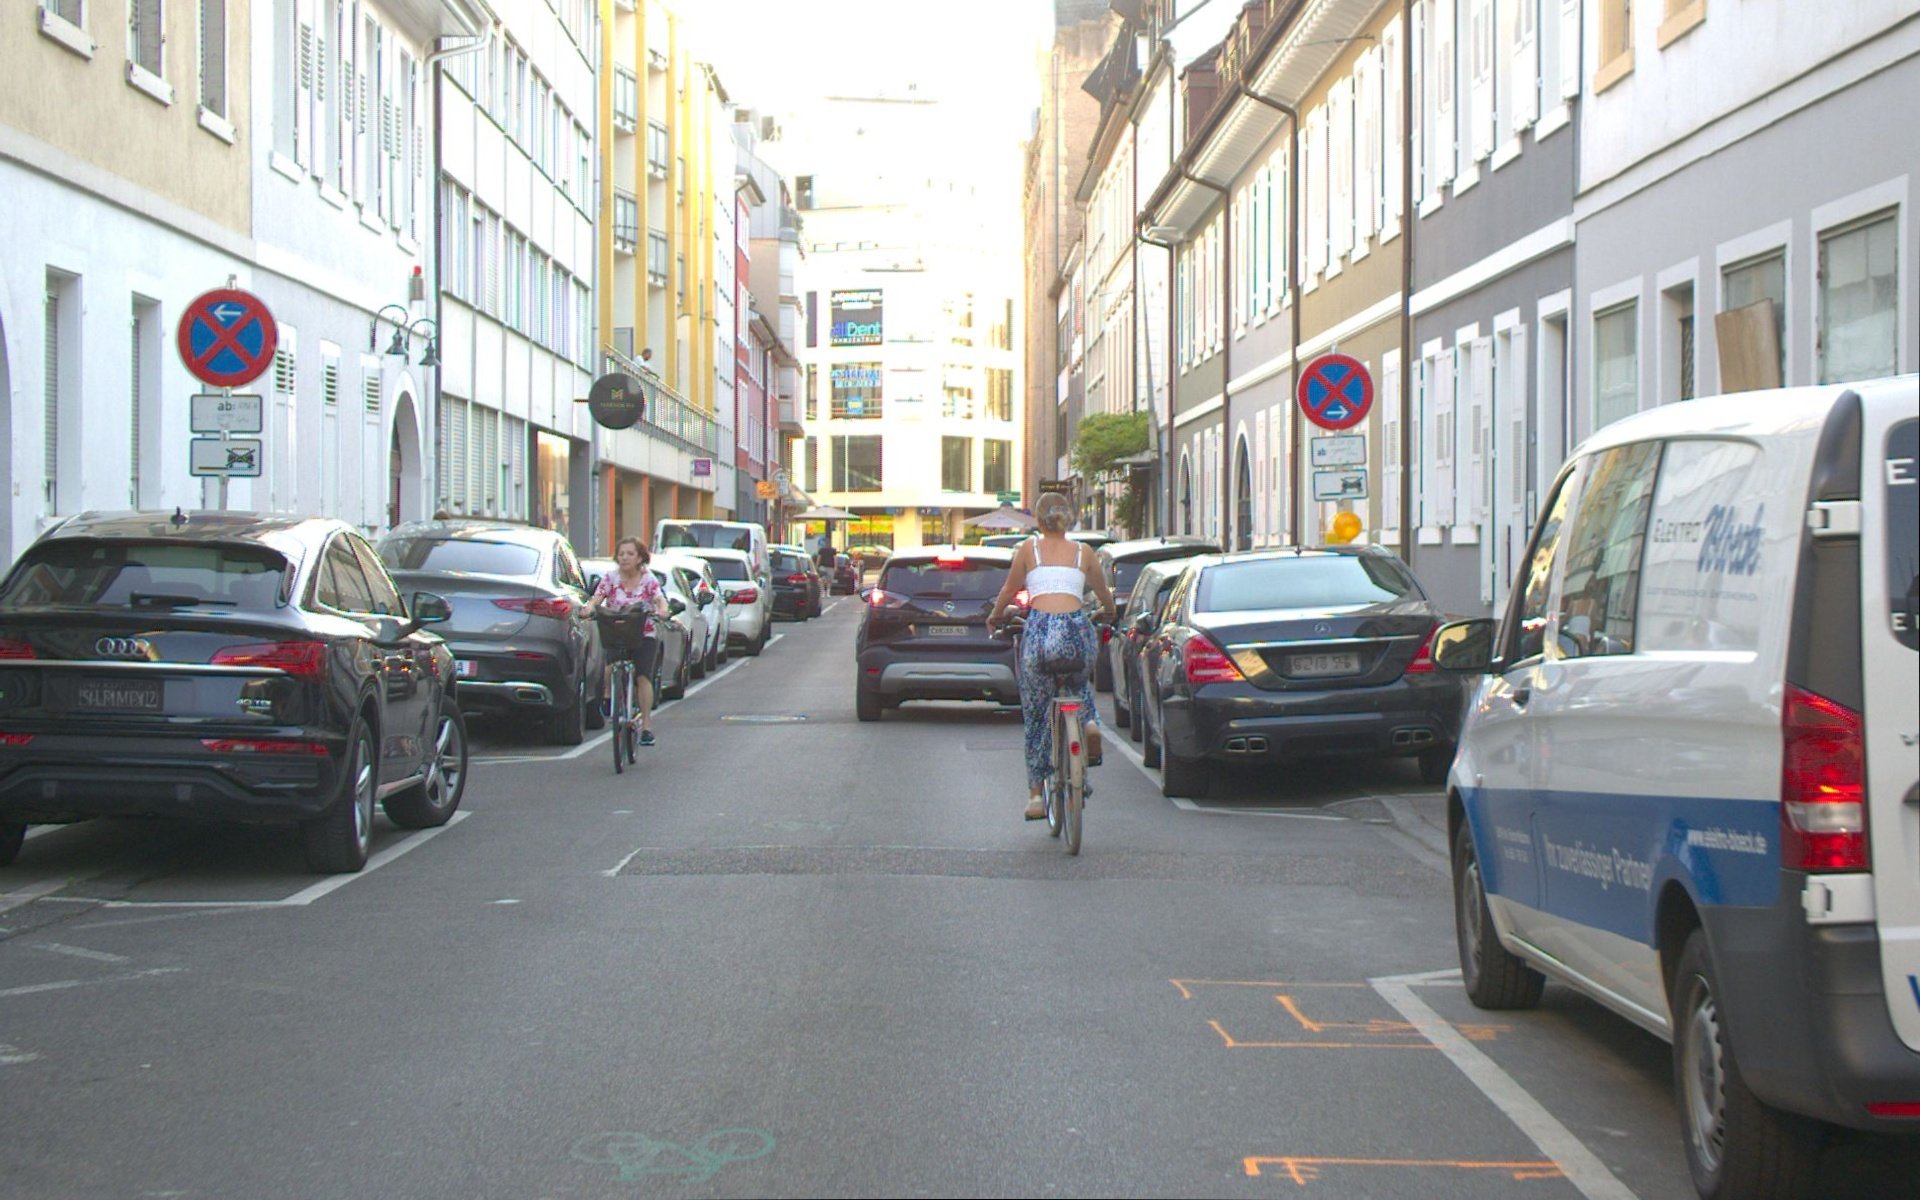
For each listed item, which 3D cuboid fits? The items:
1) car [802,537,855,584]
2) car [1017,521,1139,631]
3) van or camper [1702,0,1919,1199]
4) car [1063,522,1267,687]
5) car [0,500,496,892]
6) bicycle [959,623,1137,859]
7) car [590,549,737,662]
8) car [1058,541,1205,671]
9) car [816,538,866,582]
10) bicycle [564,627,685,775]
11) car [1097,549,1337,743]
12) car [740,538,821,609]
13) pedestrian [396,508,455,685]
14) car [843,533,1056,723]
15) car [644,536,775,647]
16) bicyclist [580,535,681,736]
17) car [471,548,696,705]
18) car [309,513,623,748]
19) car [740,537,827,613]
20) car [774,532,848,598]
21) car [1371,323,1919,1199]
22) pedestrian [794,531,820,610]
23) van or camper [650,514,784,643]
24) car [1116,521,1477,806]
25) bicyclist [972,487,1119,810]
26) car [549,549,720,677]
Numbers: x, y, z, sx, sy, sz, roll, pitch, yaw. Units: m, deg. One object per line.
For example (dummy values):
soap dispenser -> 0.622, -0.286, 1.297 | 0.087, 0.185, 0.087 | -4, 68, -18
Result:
car -> -4.528, -1.364, 118.900 | 1.653, 1.555, 3.606 | 1, 1, 0
car -> 1.732, -0.376, 51.547 | 1.653, 1.555, 3.606 | 1, 1, 0
van or camper -> 2.110, 0.196, 1.601 | 2.050, 2.628, 7.063 | 0, 1, 0
car -> 2.277, 0.012, 39.209 | 1.918, 1.732, 4.153 | 1, 1, -2
car -> -3.519, 0.369, 16.911 | 1.803, 1.671, 4.490 | 0, 1, 1
bicycle -> 0.418, 0.676, 17.194 | 0.613, 1.078, 1.810 | 1, 1, -7
car -> -3.931, 0.038, 46.027 | 1.653, 1.406, 3.606 | 1, 1, 0
car -> 2.154, 0.044, 43.963 | 1.653, 1.555, 3.606 | 1, 1, 0
car -> -4.337, -1.464, 125.670 | 1.653, 1.555, 3.606 | 1, 1, 0
bicycle -> -2.300, 0.678, 23.704 | 0.613, 0.929, 1.886 | 1, 1, 1
car -> 2.106, 0.335, 29.112 | 1.676, 1.481, 4.000 | 1, 1, 0
car -> -4.100, -0.620, 78.835 | 1.653, 1.555, 3.606 | 1, 1, 0
pedestrian -> -6.089, -0.042, 39.165 | 0.610, 2.007, 0.450 | 1, 1, -3
car -> -0.124, 0.208, 32.022 | 1.819, 1.612, 4.000 | 1, 1, -1
car -> -3.681, -0.153, 51.005 | 1.653, 1.555, 3.606 | 1, 1, 0
bicyclist -> -2.279, 0.239, 23.824 | 0.606, 1.365, 0.621 | 1, 1, 2
car -> -3.727, 0.222, 34.657 | 1.918, 1.429, 4.294 | 1, 1, -2
car -> -3.908, 0.188, 27.912 | 1.997, 1.701, 4.536 | 1, 1, -2
car -> -3.753, -0.555, 73.531 | 1.653, 1.555, 3.606 | 1, 1, 0
car -> -3.638, -0.879, 84.527 | 1.653, 1.555, 3.606 | 1, 1, 0
car -> 2.474, 0.344, 9.213 | 1.941, 1.888, 5.317 | -3, 1, -1
pedestrian -> -3.445, -0.665, 77.229 | 0.554, 1.746, 0.568 | 1, 1, -3
van or camper -> -3.965, -0.380, 56.691 | 1.844, 2.006, 4.678 | 1, 1, 0
car -> 2.034, 0.324, 22.137 | 1.819, 1.525, 5.071 | -3, 1, 1
bicyclist -> 0.418, 0.234, 17.107 | 0.620, 1.569, 0.684 | 1, 1, -7
car -> -3.830, 0.119, 40.937 | 1.653, 1.406, 3.903 | 1, 1, 0
